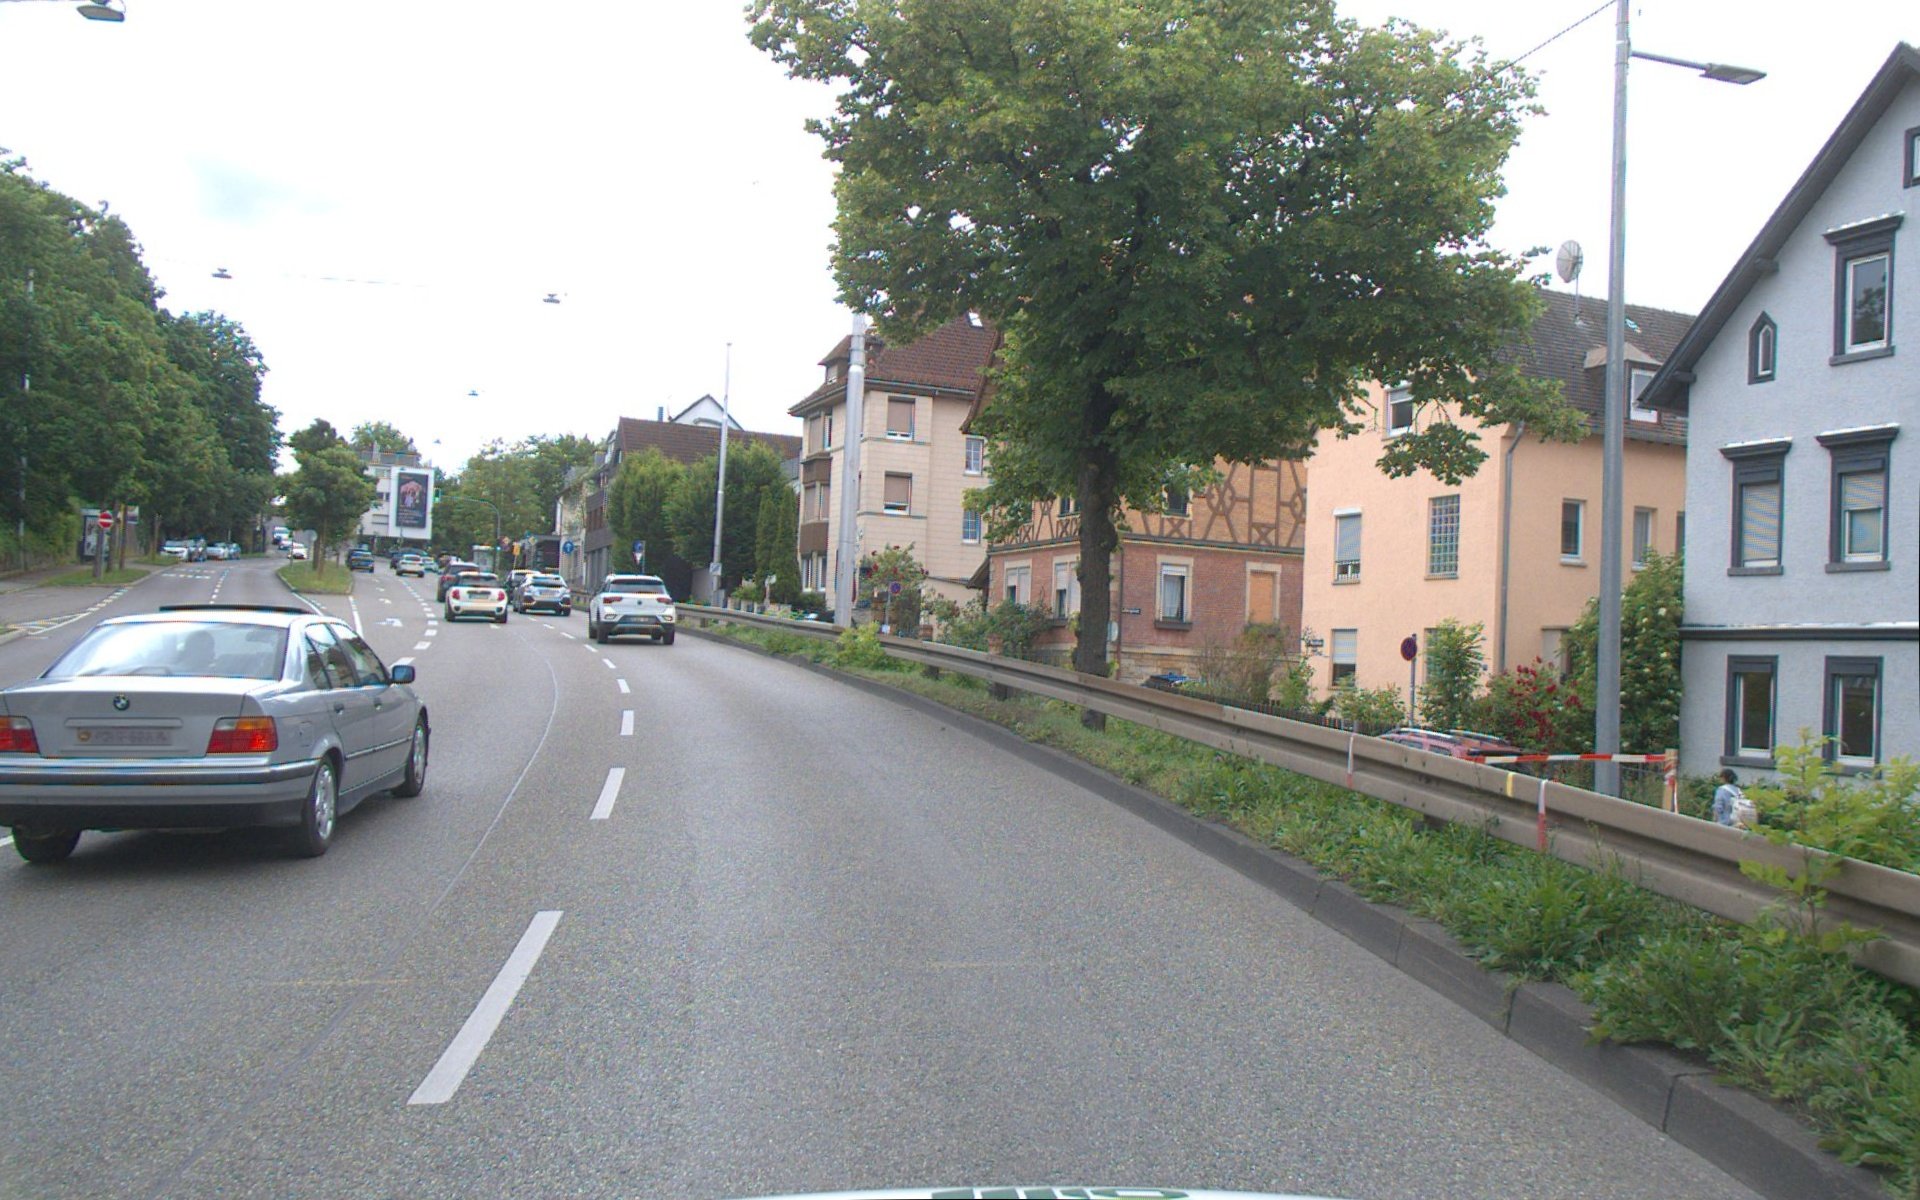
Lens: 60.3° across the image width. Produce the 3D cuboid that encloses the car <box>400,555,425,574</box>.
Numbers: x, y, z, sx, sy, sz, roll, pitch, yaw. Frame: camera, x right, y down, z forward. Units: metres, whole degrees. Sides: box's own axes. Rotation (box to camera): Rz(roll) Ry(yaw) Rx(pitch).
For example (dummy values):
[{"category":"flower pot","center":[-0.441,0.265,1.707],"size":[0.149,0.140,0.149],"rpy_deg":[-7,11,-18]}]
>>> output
[{"category":"car","center":[-41.953,-2.679,126.693],"size":[1.698,1.400,3.435],"rpy_deg":[0,1,-21]}]

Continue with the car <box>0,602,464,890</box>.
[{"category":"car","center":[-4.439,0.726,10.542],"size":[1.603,1.407,4.614],"rpy_deg":[-1,0,-6]}]

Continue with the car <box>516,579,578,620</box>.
[{"category":"car","center":[-14.749,-0.037,58.942],"size":[1.698,1.400,3.434],"rpy_deg":[0,1,-22]}]

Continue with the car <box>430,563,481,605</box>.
[{"category":"car","center":[-20.846,-0.657,68.296],"size":[1.699,1.668,3.432],"rpy_deg":[0,1,-23]}]

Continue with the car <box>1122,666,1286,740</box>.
[{"category":"car","center":[6.719,2.824,45.563],"size":[3.933,1.601,1.987],"rpy_deg":[6,0,-23]}]

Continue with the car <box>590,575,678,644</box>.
[{"category":"car","center":[-7.719,0.190,38.944],"size":[1.768,1.545,3.442],"rpy_deg":[0,1,-16]}]

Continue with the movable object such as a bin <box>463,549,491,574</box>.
[{"category":"movable object such as a bin","center":[-40.743,-3.270,139.618],"size":[1.871,1.902,1.514],"rpy_deg":[5,0,-29]}]

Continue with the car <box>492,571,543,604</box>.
[{"category":"car","center":[-19.285,-0.560,72.012],"size":[1.699,1.400,3.433],"rpy_deg":[0,1,-22]}]

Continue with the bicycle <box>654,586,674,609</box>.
[{"category":"bicycle","center":[-14.449,-0.126,80.747],"size":[0.558,1.081,1.992],"rpy_deg":[0,2,-22]}]

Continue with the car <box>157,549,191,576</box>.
[{"category":"car","center":[-56.285,-2.722,118.538],"size":[1.834,1.699,4.251],"rpy_deg":[5,0,-22]}]

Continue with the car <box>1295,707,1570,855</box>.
[{"category":"car","center":[7.205,2.742,25.663],"size":[1.759,1.699,4.171],"rpy_deg":[4,0,-25]}]

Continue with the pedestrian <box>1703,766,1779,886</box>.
[{"category":"pedestrian","center":[10.490,3.027,22.218],"size":[0.609,1.506,0.586],"rpy_deg":[4,0,-21]}]

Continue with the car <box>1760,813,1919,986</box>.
[{"category":"car","center":[10.668,3.268,17.005],"size":[1.597,1.466,4.402],"rpy_deg":[4,0,-23]}]

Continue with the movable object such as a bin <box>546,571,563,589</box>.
[{"category":"movable object such as a bin","center":[-34.072,-1.678,138.968],"size":[1.178,1.432,0.707],"rpy_deg":[5,0,-21]}]

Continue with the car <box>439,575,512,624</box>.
[{"category":"car","center":[-14.320,-0.030,48.761],"size":[1.699,1.400,3.432],"rpy_deg":[0,1,-23]}]

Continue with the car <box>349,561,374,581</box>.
[{"category":"car","center":[-47.466,-2.286,131.072],"size":[1.699,1.610,3.432],"rpy_deg":[0,1,-23]}]

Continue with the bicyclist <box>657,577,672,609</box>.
[{"category":"bicyclist","center":[-14.406,-0.348,80.629],"size":[0.558,1.551,0.953],"rpy_deg":[0,2,-22]}]

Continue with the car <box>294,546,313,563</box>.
[{"category":"car","center":[-71.952,-4.975,181.278],"size":[1.834,1.699,4.253],"rpy_deg":[5,0,-21]}]

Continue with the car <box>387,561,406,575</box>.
[{"category":"car","center":[-57.351,-3.226,168.197],"size":[1.698,1.400,3.435],"rpy_deg":[0,1,-21]}]

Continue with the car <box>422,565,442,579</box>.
[{"category":"car","center":[-52.145,-2.771,163.336],"size":[1.698,1.400,3.435],"rpy_deg":[0,1,-21]}]

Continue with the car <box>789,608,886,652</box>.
[{"category":"car","center":[-4.991,1.237,67.552],"size":[3.576,1.459,1.683],"rpy_deg":[6,0,-37]}]

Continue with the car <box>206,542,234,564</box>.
[{"category":"car","center":[-62.559,-3.969,139.884],"size":[1.834,1.621,4.251],"rpy_deg":[5,0,-22]}]
